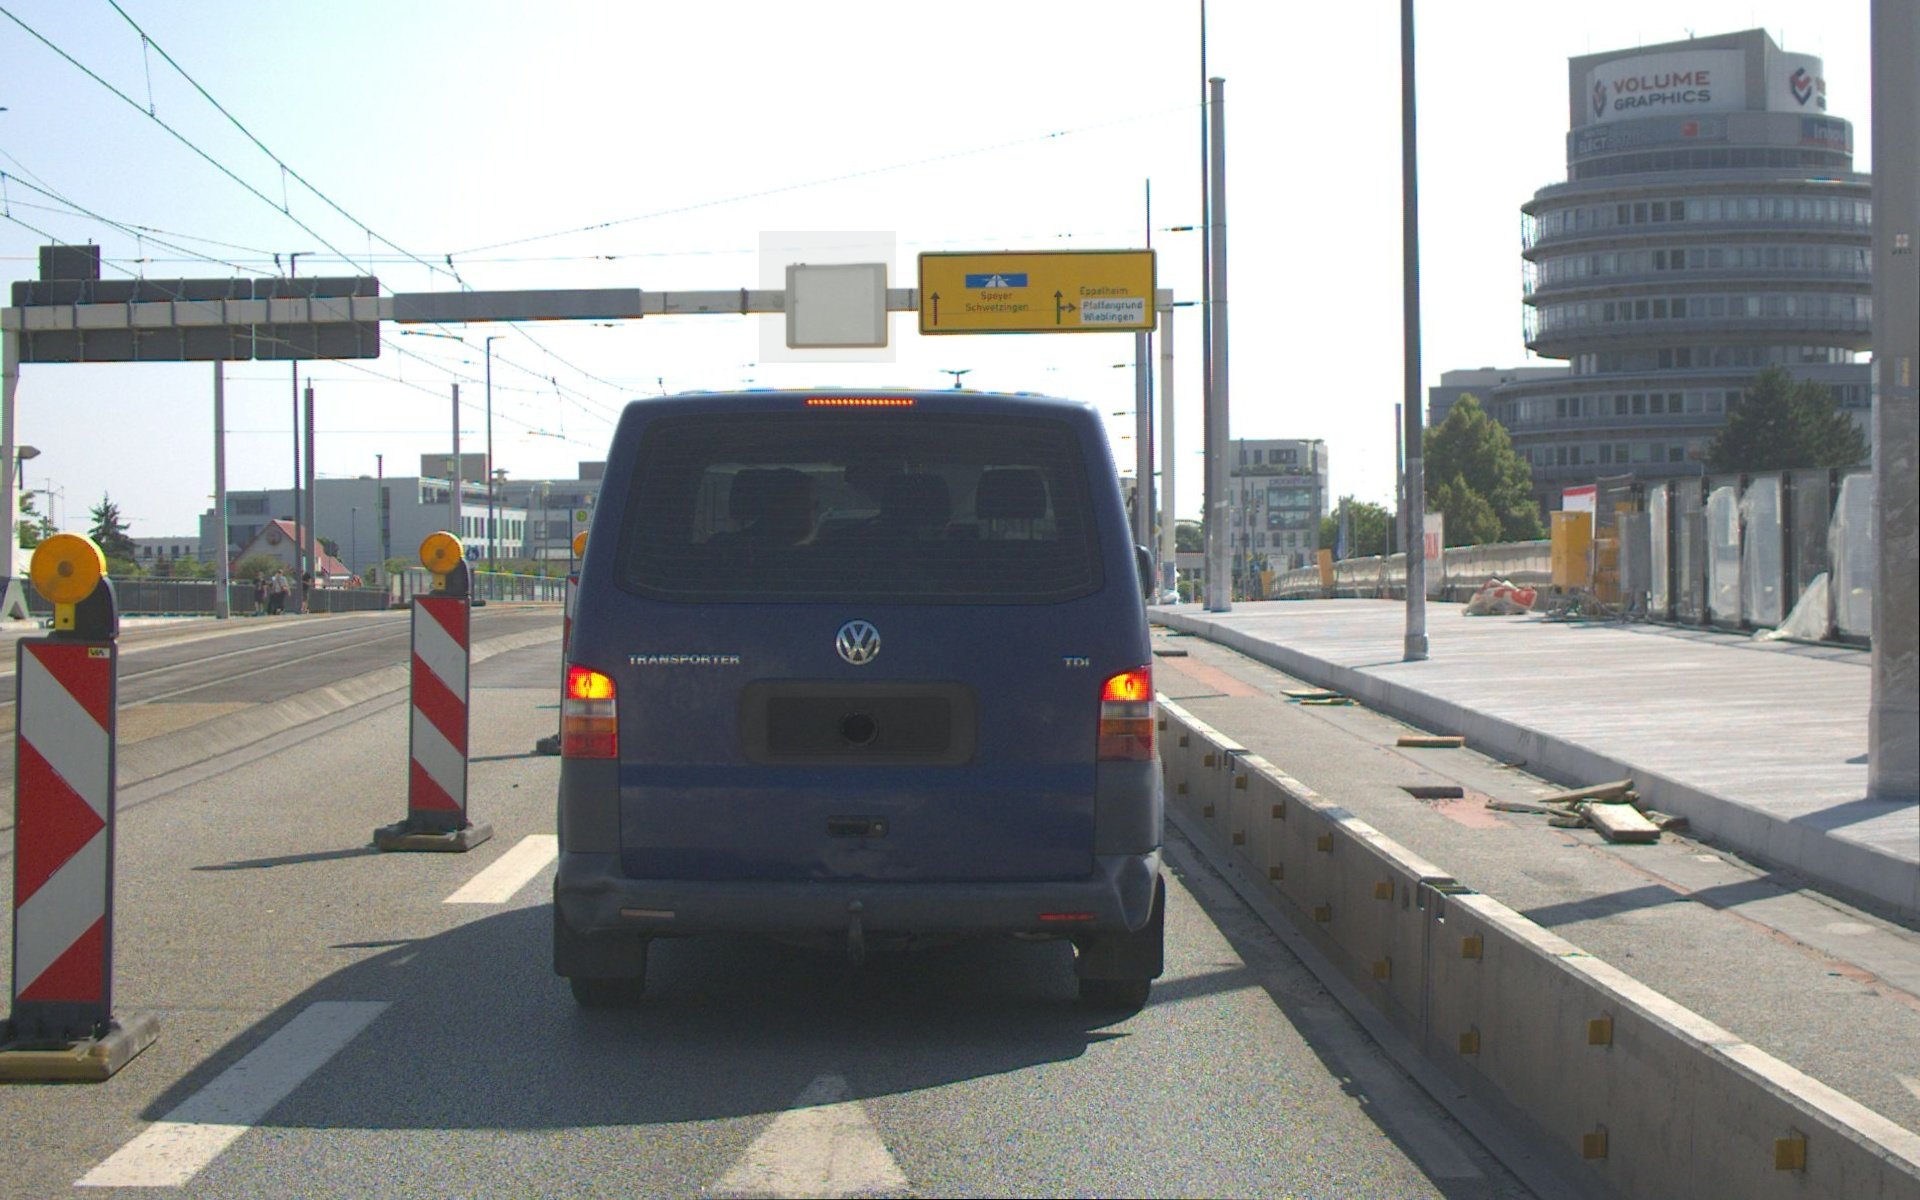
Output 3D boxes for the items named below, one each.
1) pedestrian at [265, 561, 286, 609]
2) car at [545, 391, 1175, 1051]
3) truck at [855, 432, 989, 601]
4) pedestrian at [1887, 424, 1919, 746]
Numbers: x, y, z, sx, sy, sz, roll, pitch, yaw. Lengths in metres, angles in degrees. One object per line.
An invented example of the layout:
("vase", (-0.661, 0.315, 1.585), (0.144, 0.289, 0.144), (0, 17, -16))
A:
("pedestrian", (-25.272, -0.572, 126.935), (0.634, 1.746, 0.752), (0, 1, -1))
("car", (-0.402, 0.297, 11.985), (1.815, 1.899, 4.055), (0, 1, -3))
("truck", (-0.762, -1.742, 69.678), (2.460, 3.124, 11.217), (-1, 2, -1))
("pedestrian", (6.136, -0.099, 20.789), (0.782, 1.928, 0.799), (-2, 0, -1))
